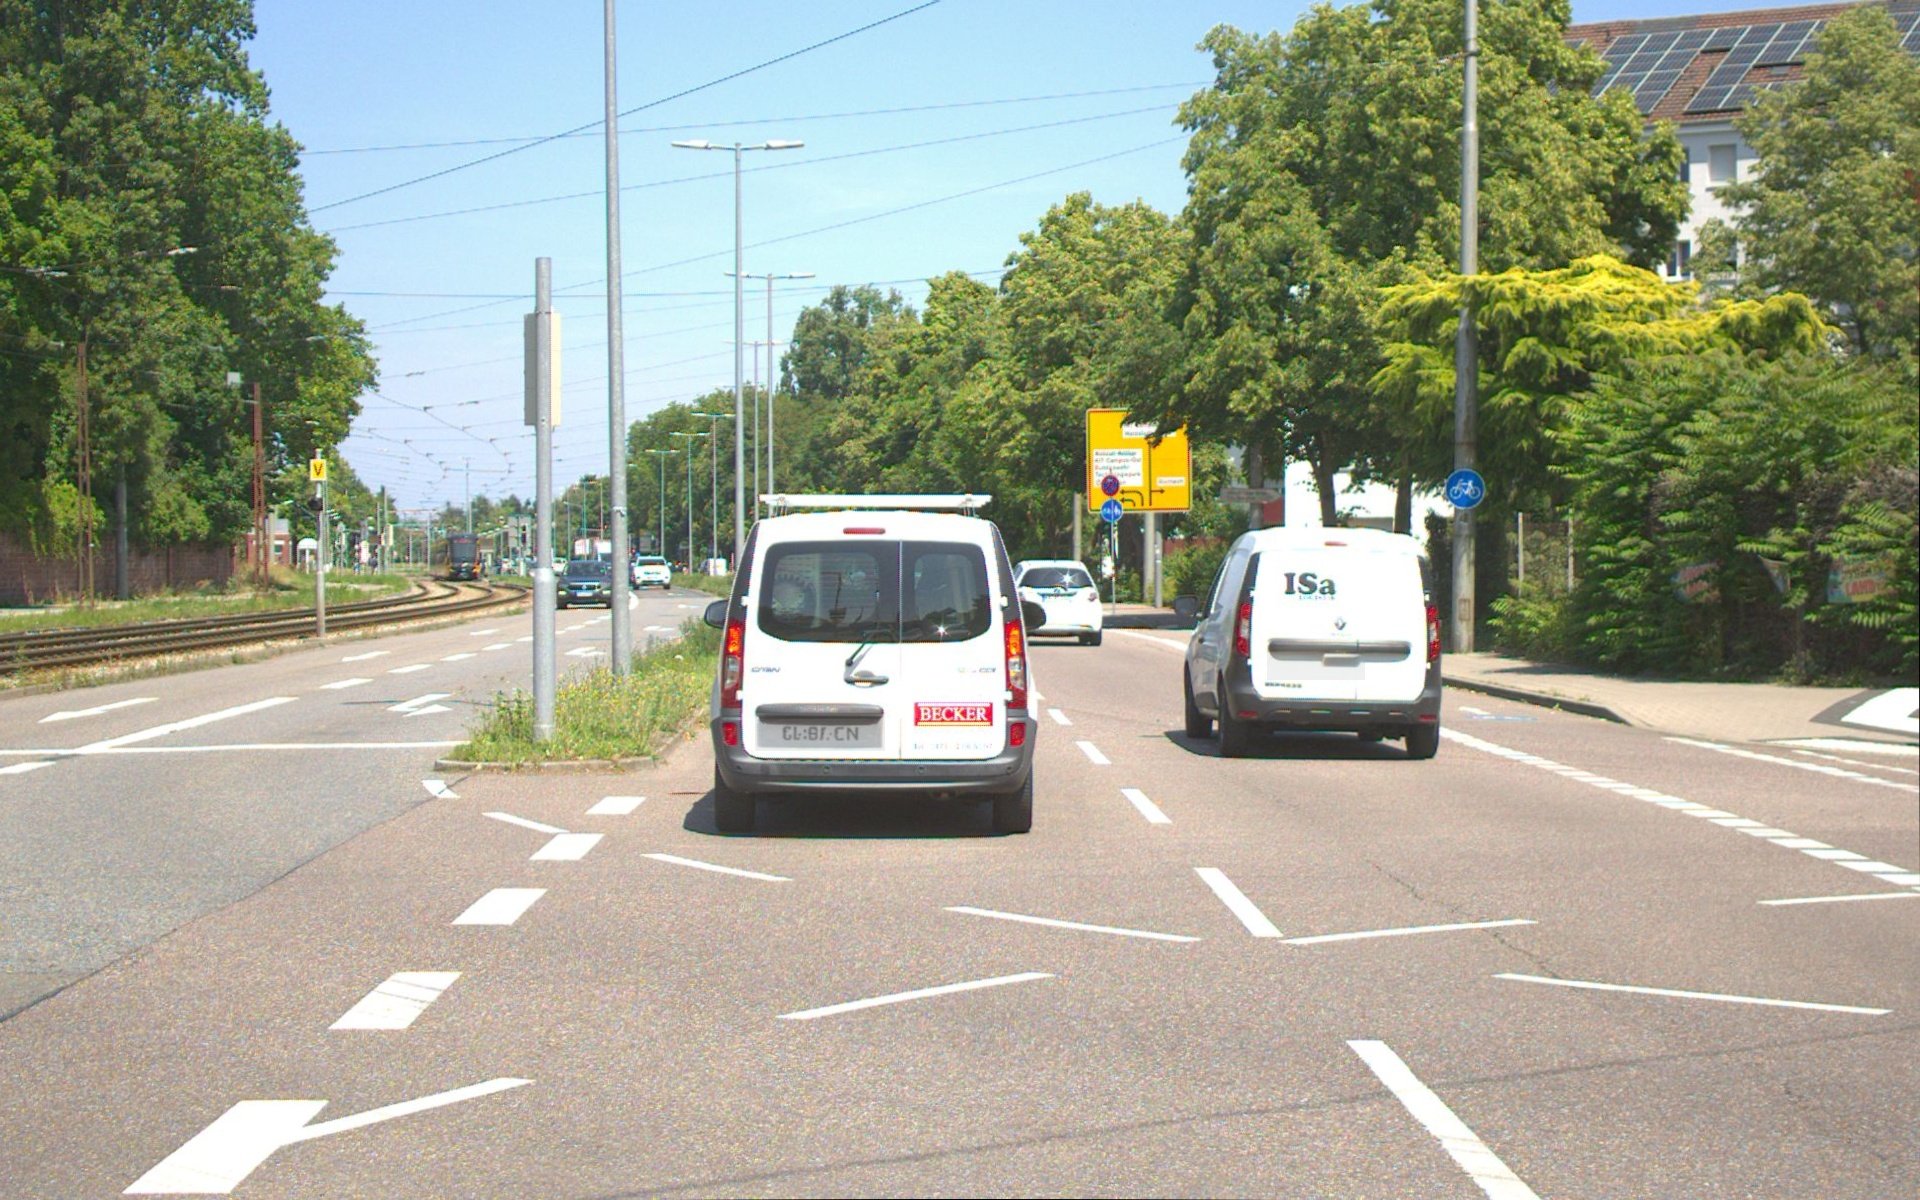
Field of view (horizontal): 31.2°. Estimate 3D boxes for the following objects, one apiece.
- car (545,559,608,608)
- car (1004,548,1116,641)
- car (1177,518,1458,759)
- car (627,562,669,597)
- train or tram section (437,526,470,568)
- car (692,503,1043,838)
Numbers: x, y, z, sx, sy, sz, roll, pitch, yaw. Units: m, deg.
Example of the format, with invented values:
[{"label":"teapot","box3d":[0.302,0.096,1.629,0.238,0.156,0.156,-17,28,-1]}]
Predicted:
[{"label":"car","box3d":[-12.301,-0.540,110.490,1.697,1.507,4.066,0,1,-2]},{"label":"car","box3d":[1.782,-0.129,62.201,1.835,1.563,4.000,2,1,-1]},{"label":"car","box3d":[2.840,0.271,28.118,1.727,1.782,4.065,2,1,-1]},{"label":"car","box3d":[-16.610,-1.091,183.277,1.993,1.809,4.000,0,1,-2]},{"label":"train or tram section","box3d":[-38.718,-3.989,262.635,1.993,3.076,16.171,1,0,-10]},{"label":"car","box3d":[-0.510,0.338,20.331,1.821,1.734,4.396,1,1,-1]}]
